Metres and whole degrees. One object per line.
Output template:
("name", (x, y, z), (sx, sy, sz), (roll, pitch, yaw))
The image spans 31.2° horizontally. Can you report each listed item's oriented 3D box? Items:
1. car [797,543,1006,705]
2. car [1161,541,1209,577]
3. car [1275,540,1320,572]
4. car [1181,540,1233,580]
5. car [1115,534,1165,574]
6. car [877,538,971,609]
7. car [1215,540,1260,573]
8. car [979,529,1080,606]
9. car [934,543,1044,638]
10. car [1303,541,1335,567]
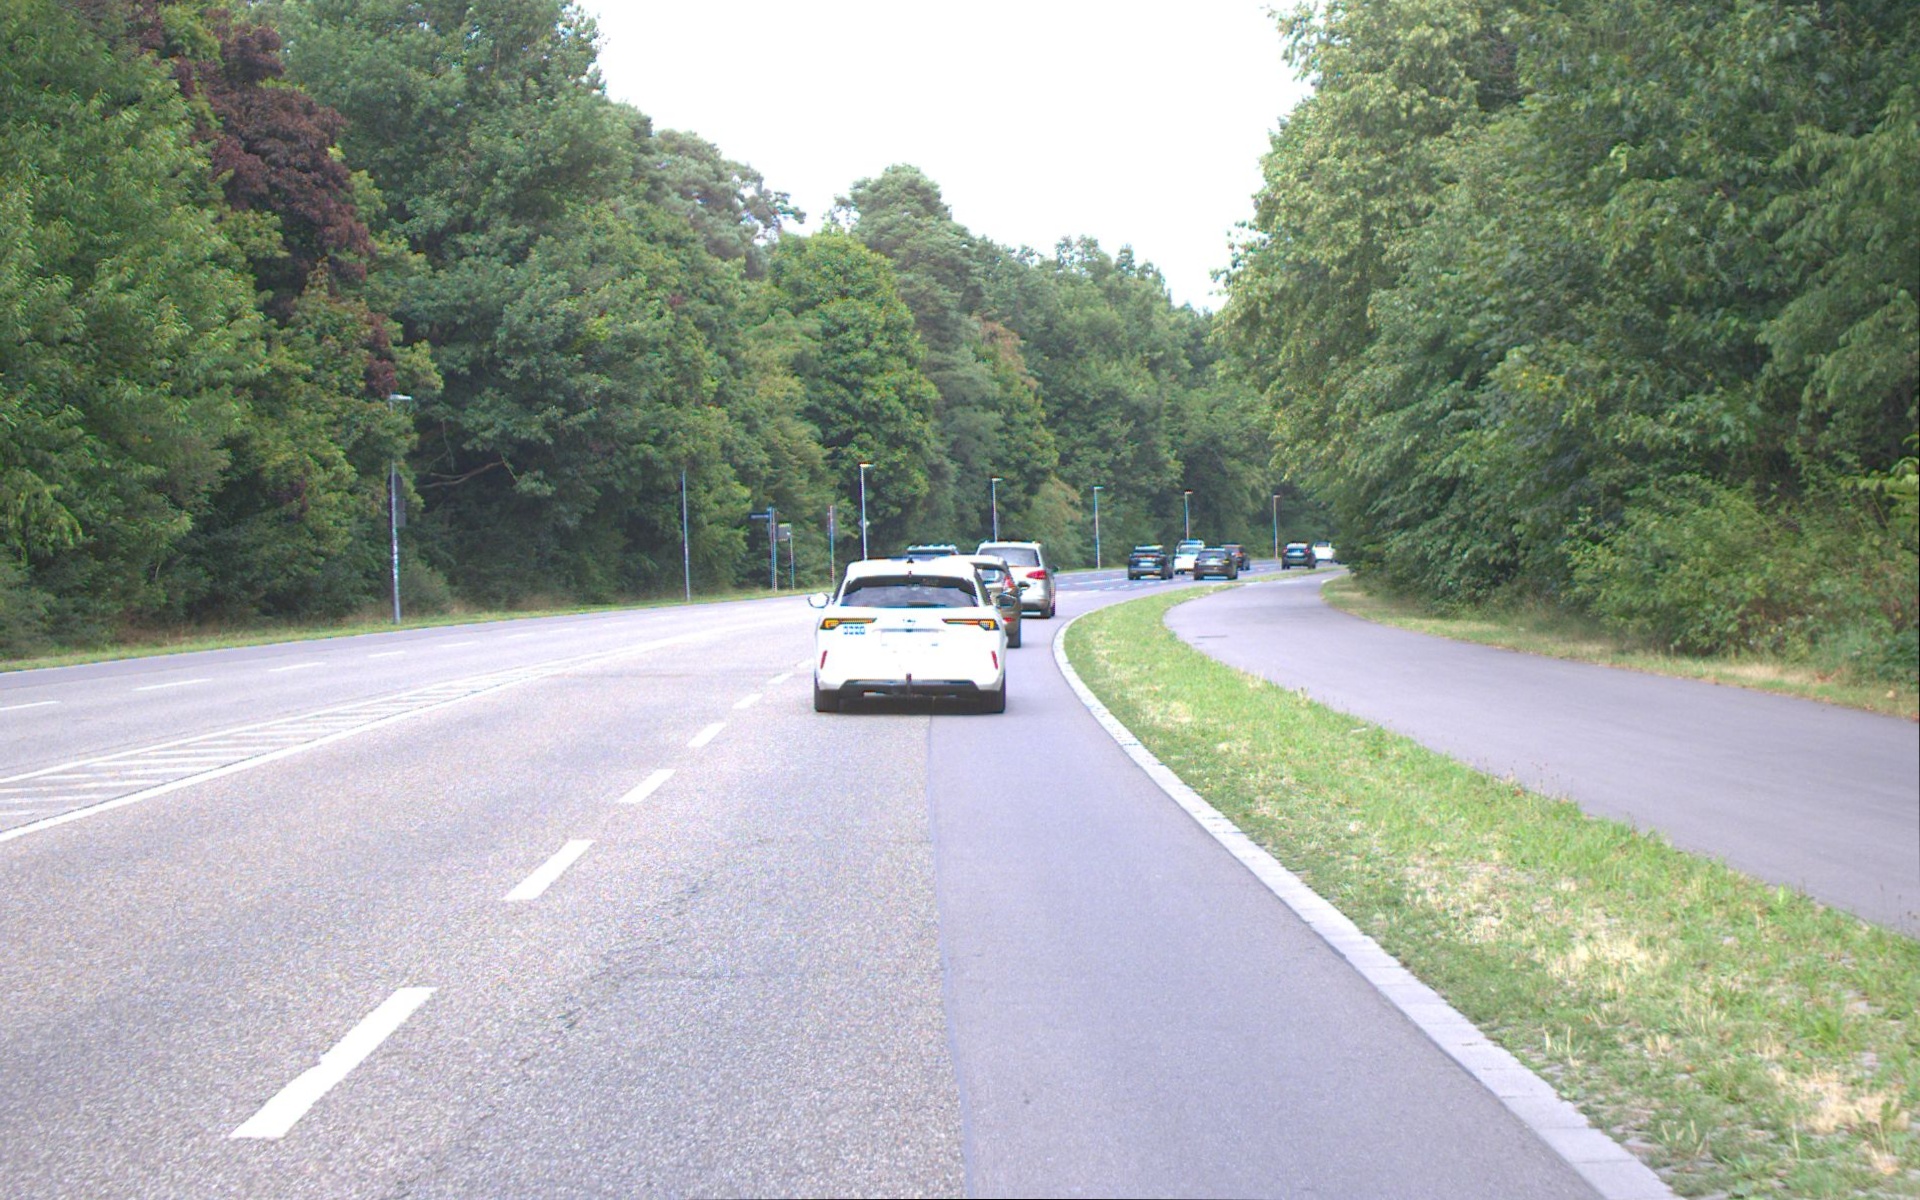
("car", (-0.560, 0.210, 33.070), (1.836, 1.405, 4.491), (2, 0, -1))
("car", (11.866, -2.133, 181.153), (1.994, 1.777, 3.998), (2, 0, 10))
("car", (20.232, -2.632, 206.107), (1.995, 1.777, 3.997), (2, 0, 15))
("car", (11.562, -1.865, 160.800), (1.994, 1.777, 3.998), (2, 0, 10))
("car", (8.575, -2.177, 163.474), (1.994, 1.777, 3.999), (2, 0, 8))
("car", (-0.919, -0.678, 90.310), (1.994, 1.780, 3.999), (2, 0, 6))
("car", (16.115, -2.501, 199.344), (1.995, 1.777, 3.997), (2, 0, 13))
("car", (1.575, -0.708, 76.718), (1.994, 1.601, 3.999), (2, 0, 4))
("car", (0.493, -0.145, 54.846), (1.635, 1.415, 4.000), (2, 0, 1))
("car", (25.758, -3.296, 246.538), (1.889, 1.809, 3.998), (2, 0, 12))
